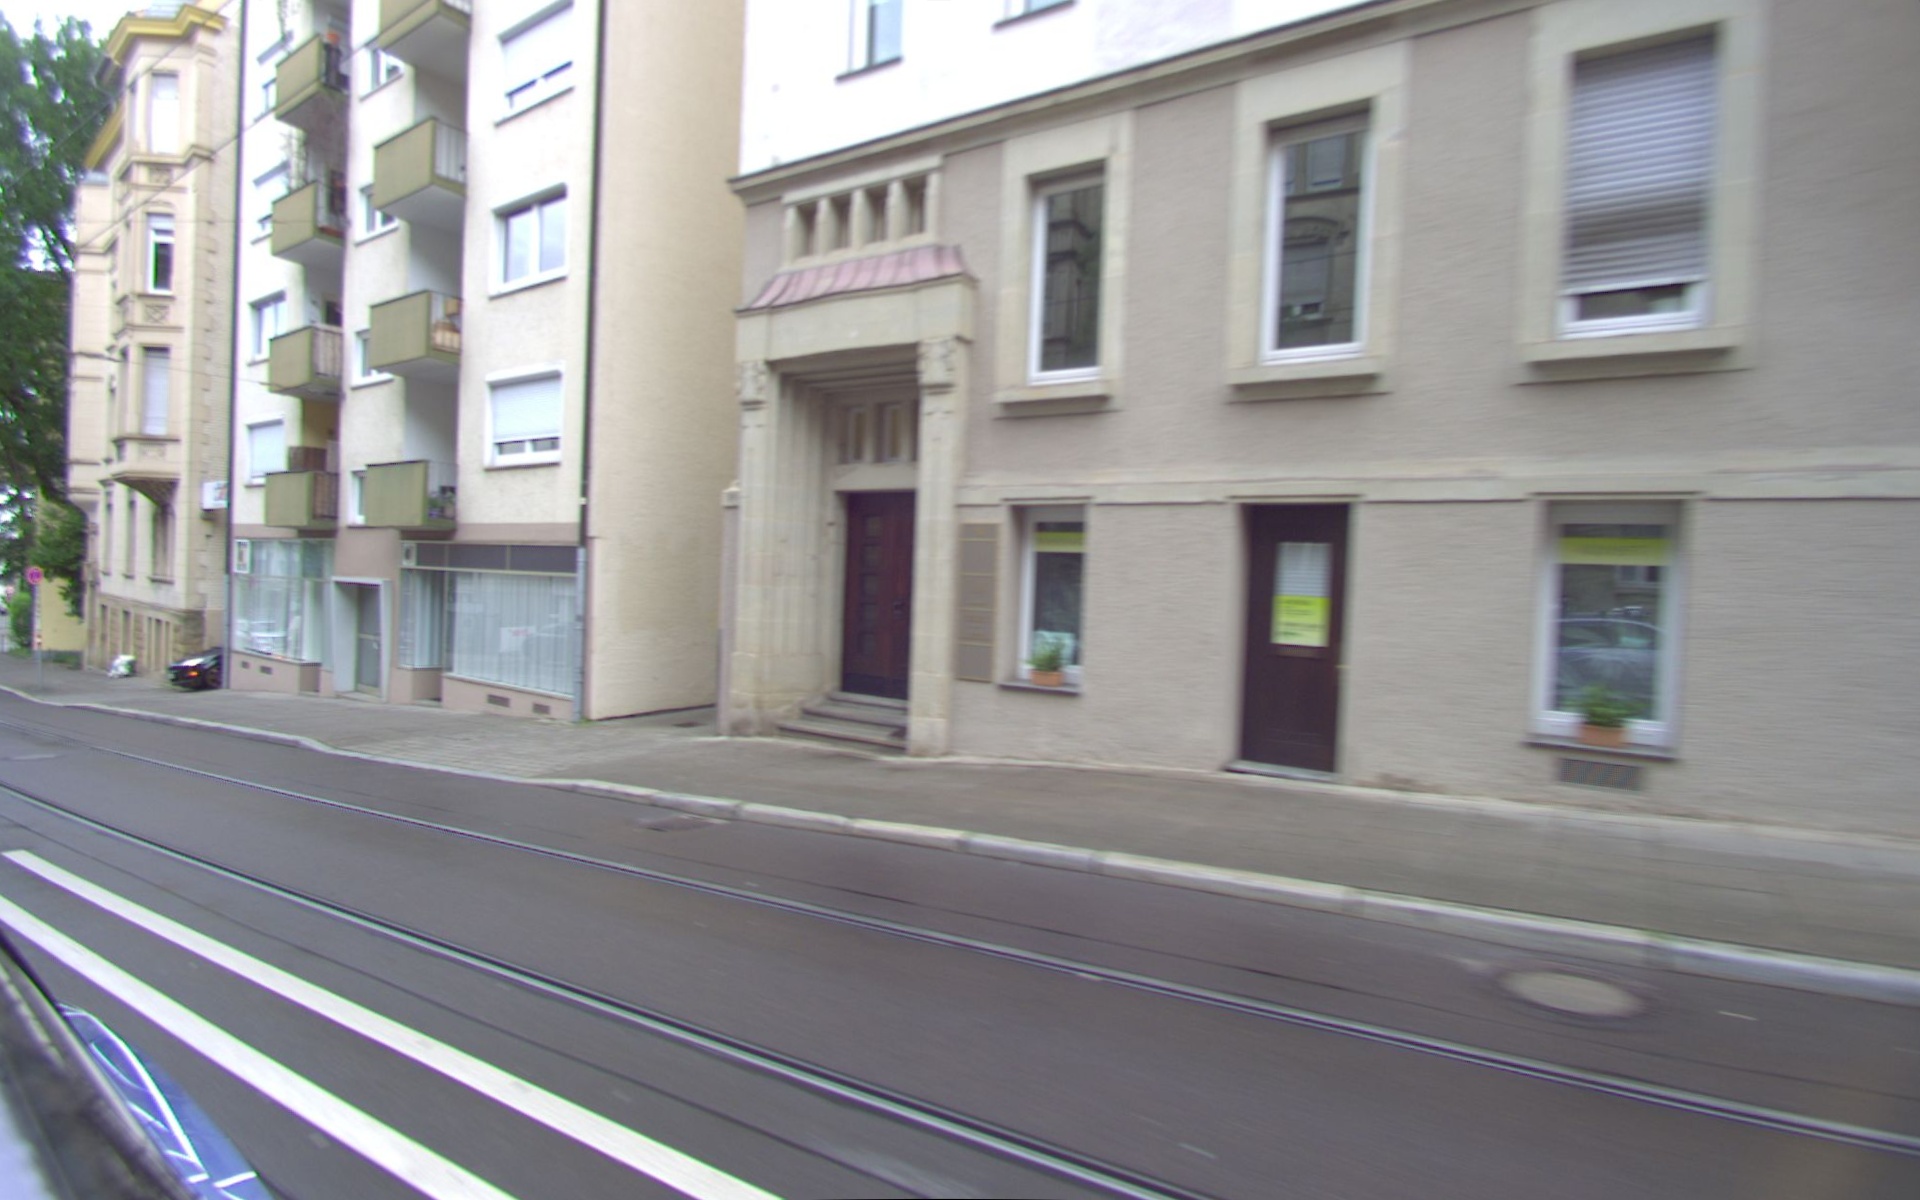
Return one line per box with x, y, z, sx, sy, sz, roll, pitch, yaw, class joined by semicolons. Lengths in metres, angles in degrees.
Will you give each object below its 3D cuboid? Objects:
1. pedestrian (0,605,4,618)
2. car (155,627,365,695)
-119.224;1.446;125.732;0.640;1.674;0.651;2;-3;-43;pedestrian
-17.073;1.427;24.834;1.739;1.465;3.947;-1;-1;40;car
